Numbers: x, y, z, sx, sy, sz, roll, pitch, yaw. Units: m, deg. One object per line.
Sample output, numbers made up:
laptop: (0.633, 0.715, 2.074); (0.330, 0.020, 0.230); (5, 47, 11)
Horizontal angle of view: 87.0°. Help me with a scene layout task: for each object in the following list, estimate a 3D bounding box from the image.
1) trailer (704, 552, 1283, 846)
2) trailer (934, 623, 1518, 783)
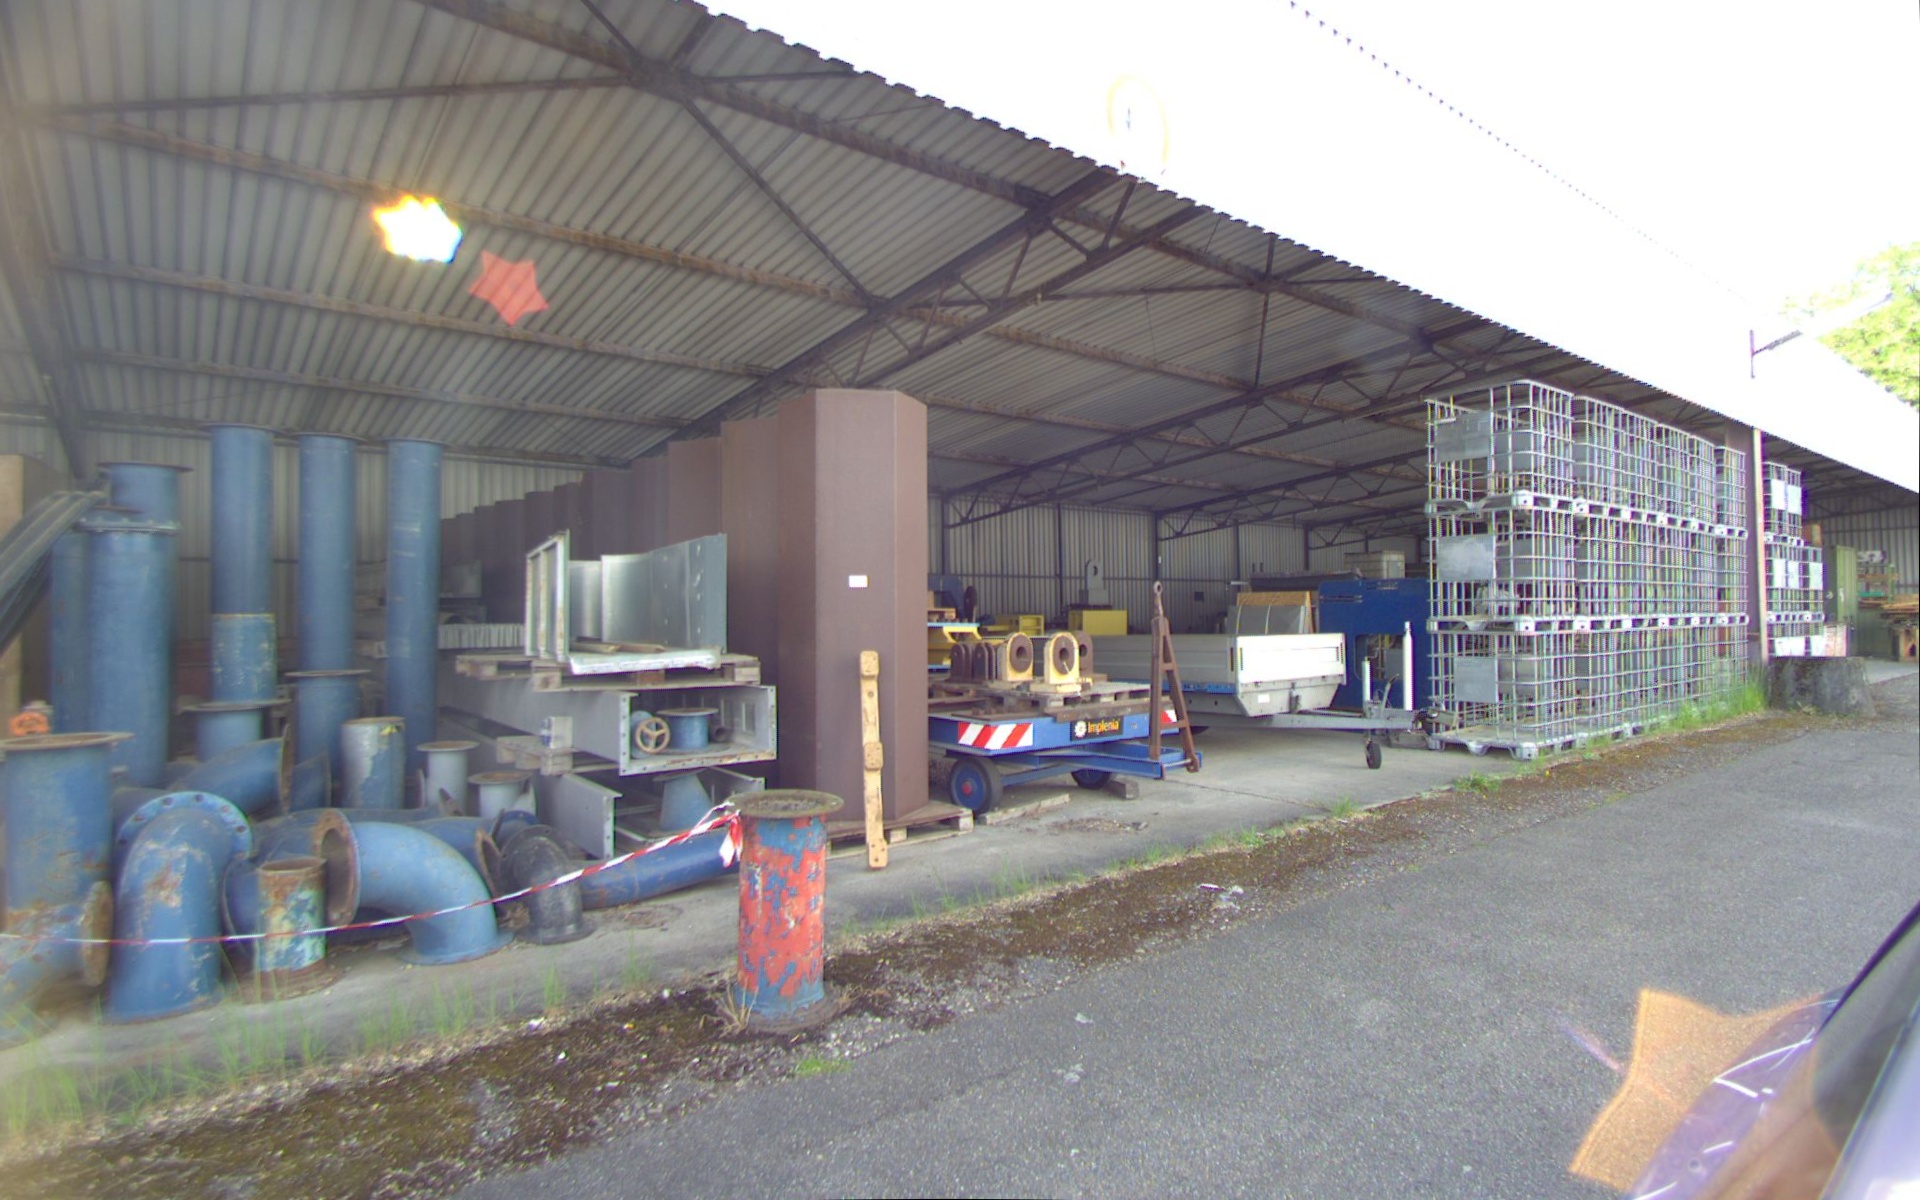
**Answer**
trailer: (-0.087, 0.571, 8.211); (1.993, 1.649, 4.877); (0, -1, -39)
trailer: (2.290, 0.837, 10.503); (1.993, 1.134, 5.834); (0, -1, -39)
